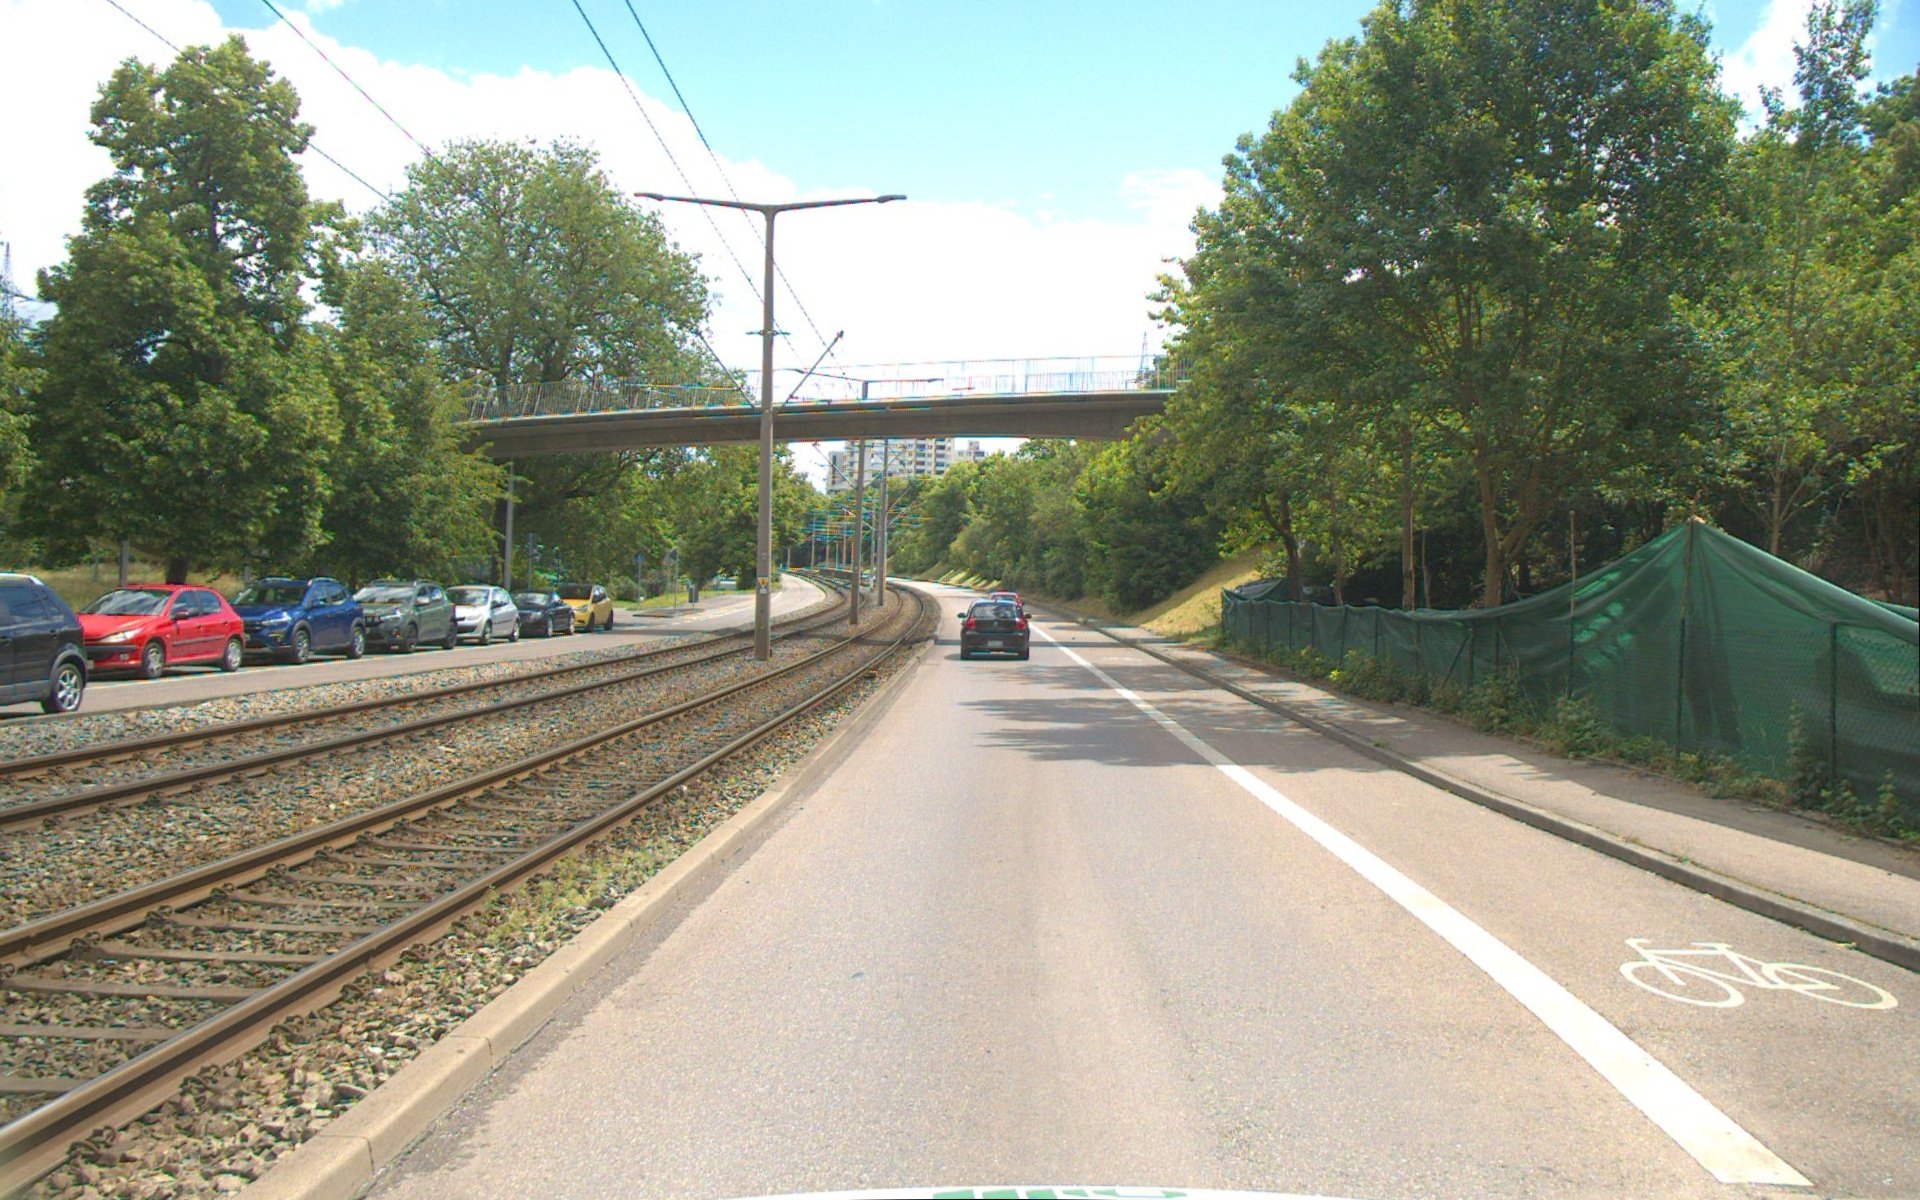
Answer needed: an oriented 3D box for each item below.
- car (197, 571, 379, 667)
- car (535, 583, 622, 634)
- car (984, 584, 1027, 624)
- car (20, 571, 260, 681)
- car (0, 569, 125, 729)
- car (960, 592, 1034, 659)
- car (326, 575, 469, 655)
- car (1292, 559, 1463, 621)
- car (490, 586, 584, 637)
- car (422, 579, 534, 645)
[{"bbox_3d":[-12.674,0.401,31.471,1.525,1.624,4.161,3,-1,2],"label":"car"},{"bbox_3d":[-12.132,0.302,52.770,1.654,1.476,3.899,3,-1,2],"label":"car"},{"bbox_3d":[1.875,0.171,67.576,1.590,1.468,3.422,3,-1,4],"label":"car"},{"bbox_3d":[-12.897,0.435,26.317,1.579,1.520,4.048,3,-1,2],"label":"car"},{"bbox_3d":[-10.368,0.450,16.768,1.580,1.601,4.000,3,-1,2],"label":"car"},{"bbox_3d":[0.933,0.599,41.157,1.673,1.485,3.961,3,0,2],"label":"car"},{"bbox_3d":[-12.435,0.310,36.807,1.608,1.651,4.127,1,0,2],"label":"car"},{"bbox_3d":[11.826,-0.264,47.055,4.429,1.701,2.001,0,-2,4],"label":"car"},{"bbox_3d":[-12.209,0.317,47.966,1.480,1.384,4.129,1,0,2],"label":"car"},{"bbox_3d":[-12.331,0.298,42.571,1.561,1.520,4.192,3,0,0],"label":"car"}]
